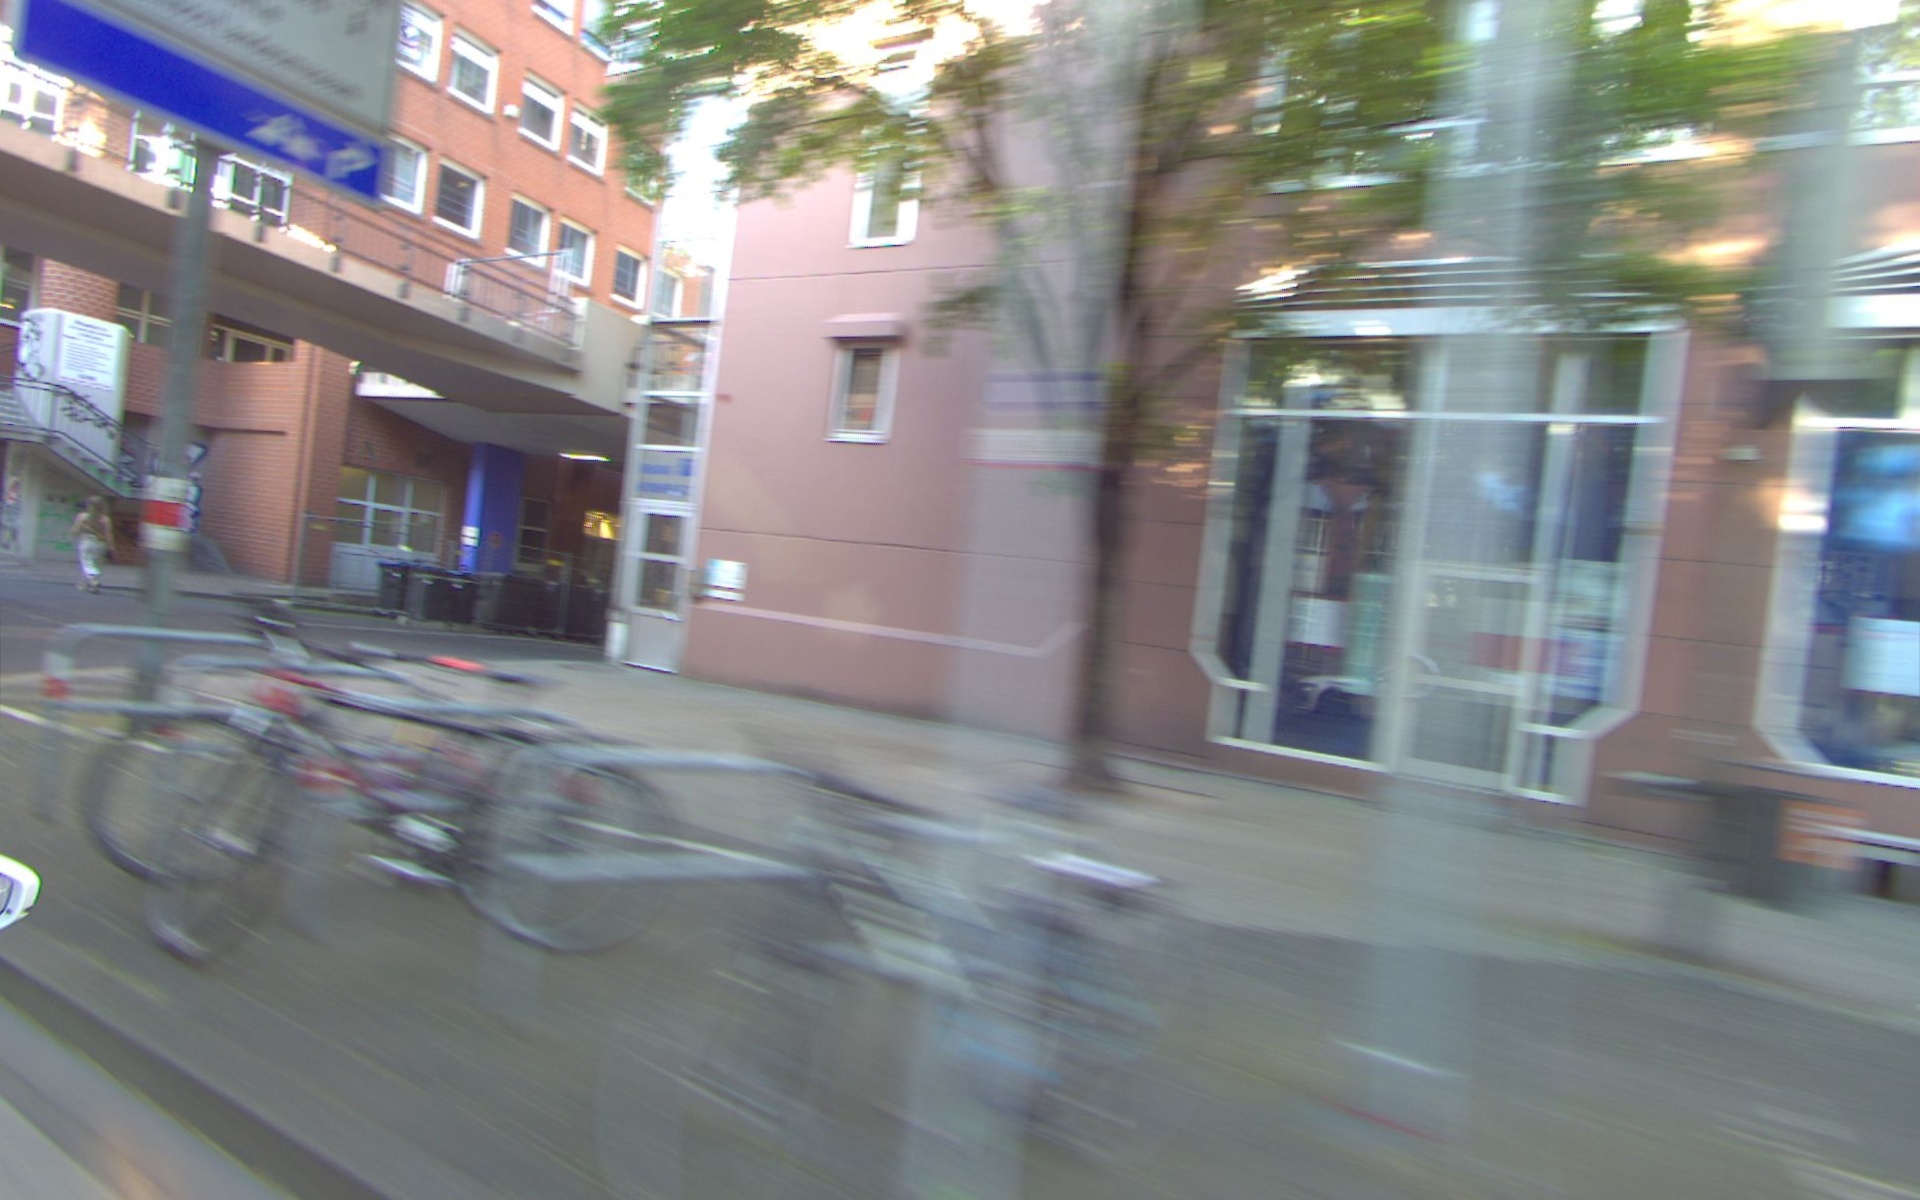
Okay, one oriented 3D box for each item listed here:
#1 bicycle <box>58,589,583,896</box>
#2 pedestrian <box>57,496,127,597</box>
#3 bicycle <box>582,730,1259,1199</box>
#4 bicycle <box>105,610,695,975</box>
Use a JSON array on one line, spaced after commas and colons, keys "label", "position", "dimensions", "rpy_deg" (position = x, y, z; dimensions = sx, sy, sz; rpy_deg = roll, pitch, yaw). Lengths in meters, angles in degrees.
[{"label": "bicycle", "position": [-2.536, 0.602, 4.191], "dimensions": [1.663, 1.080, 0.497], "rpy_deg": [7, 0, -28]}, {"label": "pedestrian", "position": [-15.233, -0.937, 17.660], "dimensions": [0.764, 1.653, 0.570], "rpy_deg": [7, 1, 27]}, {"label": "bicycle", "position": [0.006, 0.931, 2.584], "dimensions": [1.670, 1.080, 0.506], "rpy_deg": [7, 0, -39]}, {"label": "bicycle", "position": [-1.905, 0.681, 3.644], "dimensions": [1.663, 1.080, 0.497], "rpy_deg": [7, 0, -28]}]
